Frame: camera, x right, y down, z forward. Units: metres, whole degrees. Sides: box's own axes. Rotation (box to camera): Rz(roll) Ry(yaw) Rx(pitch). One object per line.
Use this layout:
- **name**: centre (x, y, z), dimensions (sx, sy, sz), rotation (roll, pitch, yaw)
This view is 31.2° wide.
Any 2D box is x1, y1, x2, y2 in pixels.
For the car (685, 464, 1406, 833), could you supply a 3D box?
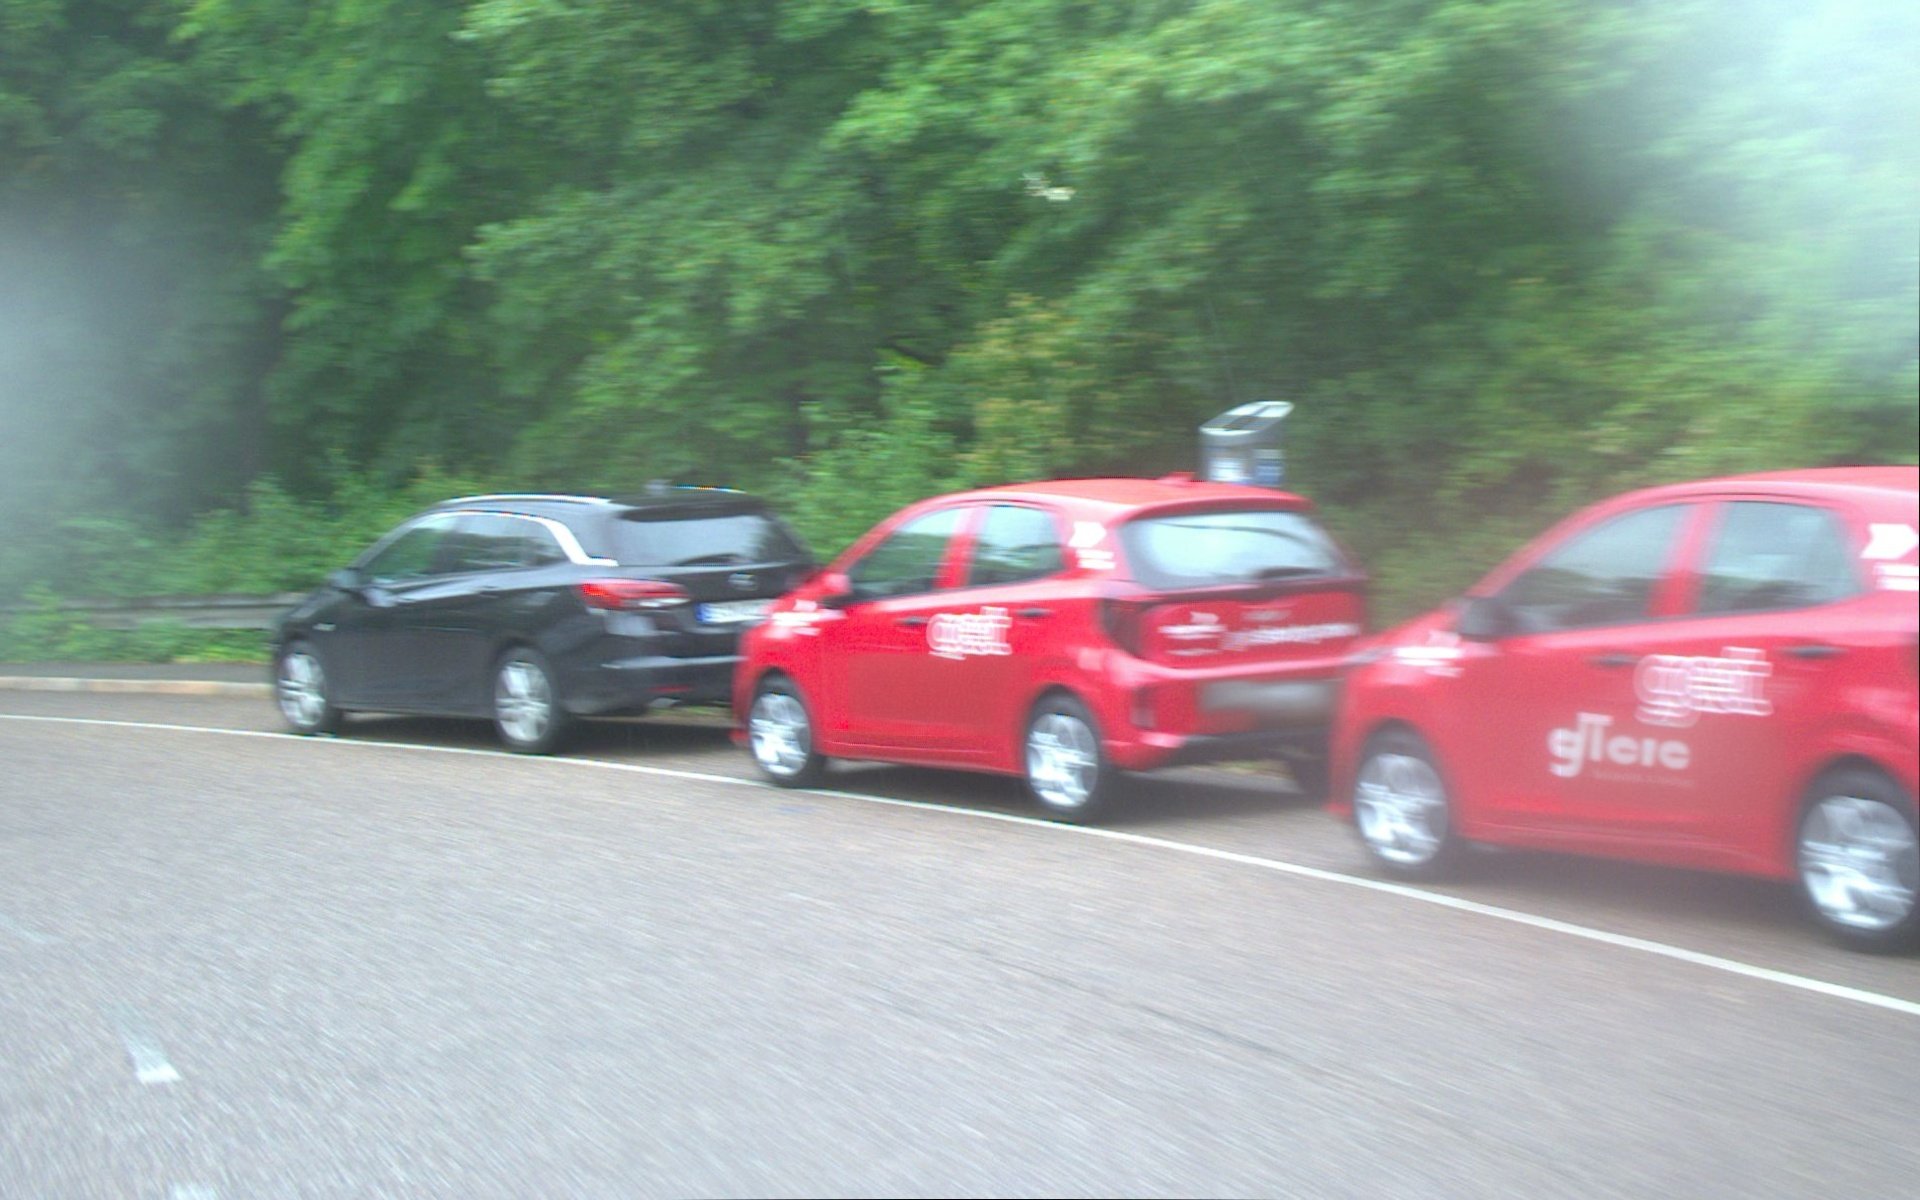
- **car**: centre (0.299, 0.127, 16.383), dimensions (1.559, 1.508, 3.675), rotation (-3, 4, -34)

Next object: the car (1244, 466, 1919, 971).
- **car**: centre (2.759, 0.291, 11.967), dimensions (1.641, 1.455, 3.807), rotation (-4, 3, -29)

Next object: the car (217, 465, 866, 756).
- **car**: centre (-2.631, -0.017, 20.648), dimensions (1.719, 1.508, 4.594), rotation (-4, 4, -38)
